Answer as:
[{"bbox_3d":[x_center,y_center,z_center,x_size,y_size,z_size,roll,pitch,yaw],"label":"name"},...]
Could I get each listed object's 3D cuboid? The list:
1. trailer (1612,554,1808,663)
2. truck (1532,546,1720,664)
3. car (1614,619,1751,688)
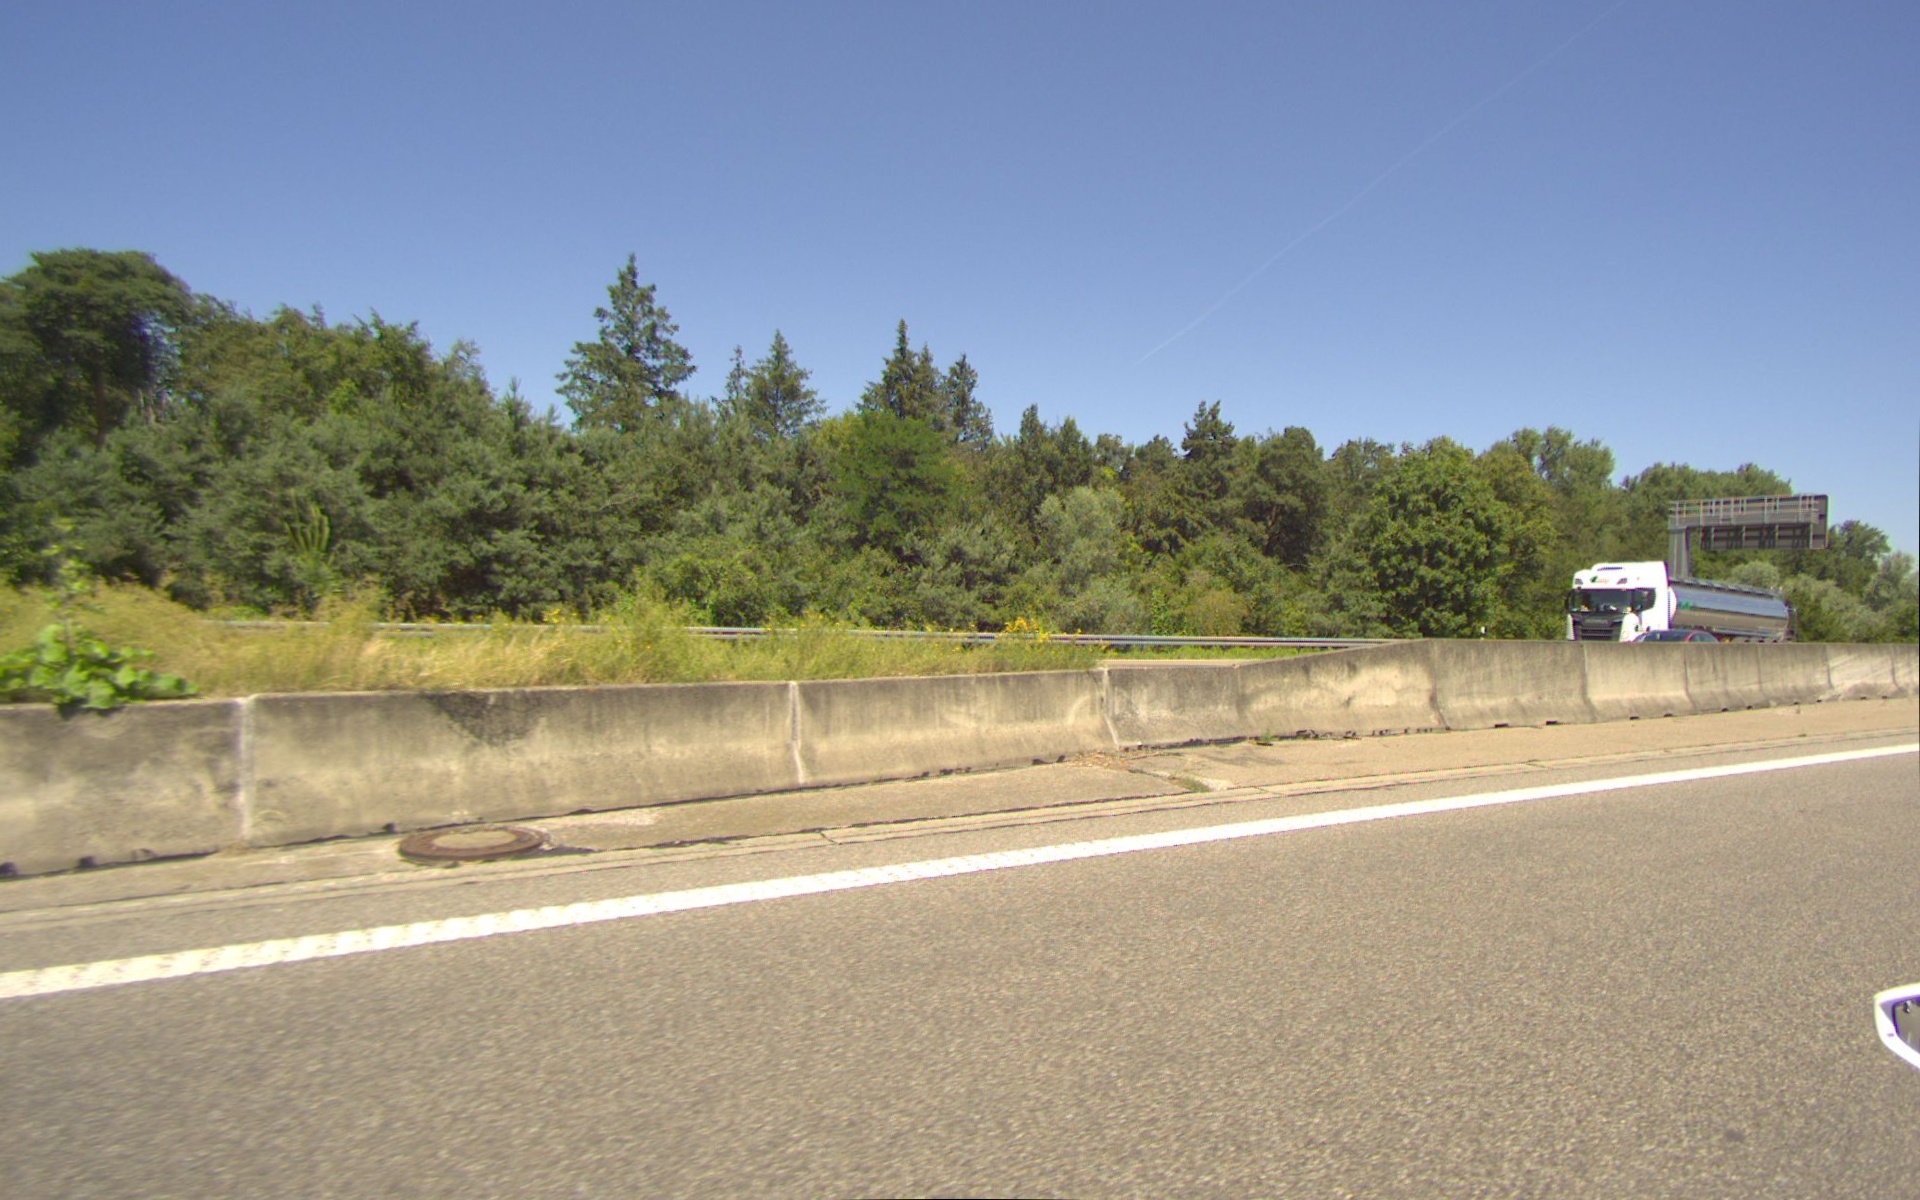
[{"bbox_3d":[31.701,0.403,42.248,10.314,4.102,2.792,2,3,-32],"label":"trailer"},{"bbox_3d":[25.534,0.210,38.407,7.643,4.102,2.792,2,3,-31],"label":"truck"},{"bbox_3d":[23.317,1.700,32.404,4.524,2.040,1.983,2,0,-32],"label":"car"}]
